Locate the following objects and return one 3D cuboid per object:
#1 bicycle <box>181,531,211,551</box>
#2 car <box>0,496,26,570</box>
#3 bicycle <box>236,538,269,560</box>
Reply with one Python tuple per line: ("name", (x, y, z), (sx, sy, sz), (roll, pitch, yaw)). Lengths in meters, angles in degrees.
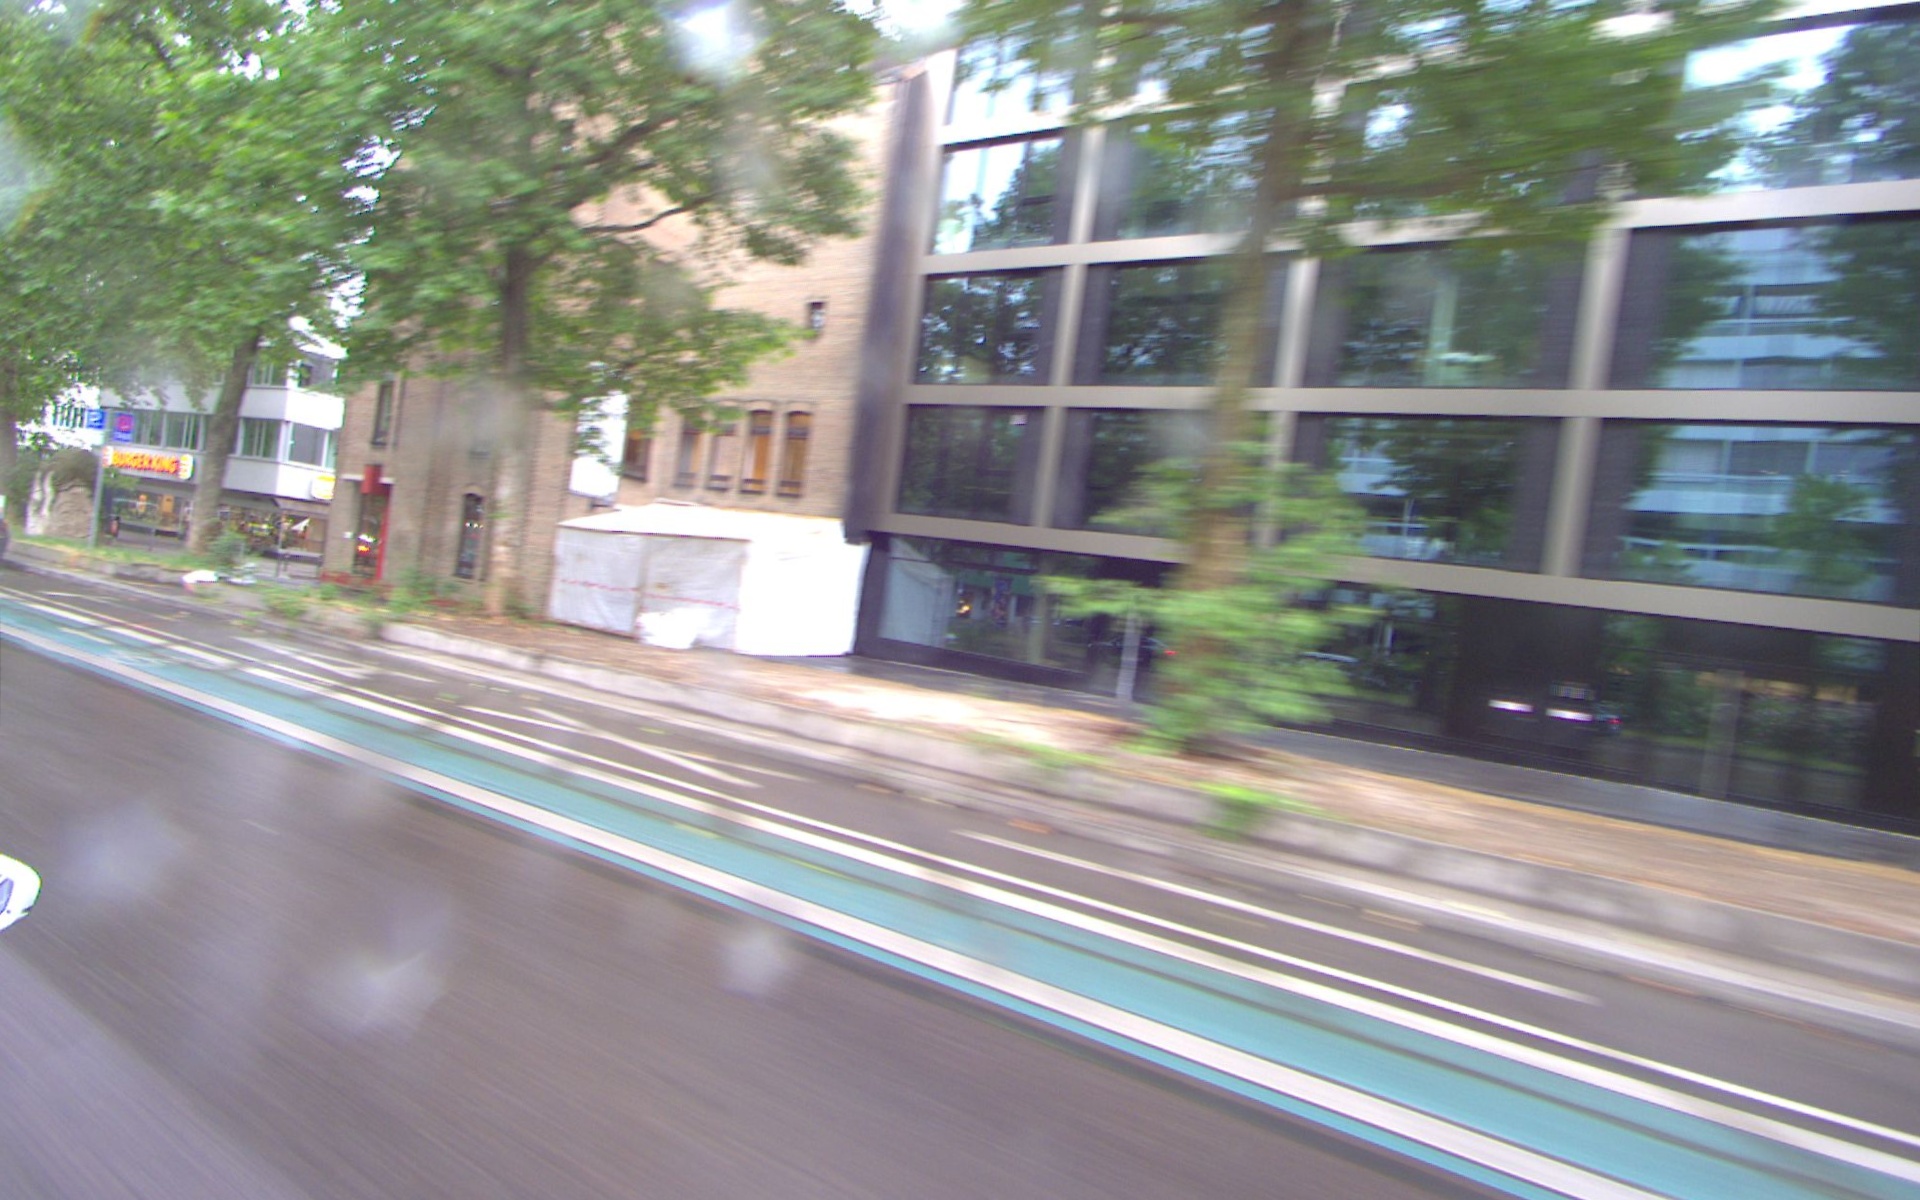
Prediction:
("bicycle", (-38.668, -2.992, 50.910), (1.993, 0.846, 0.449), (6, -2, 32))
("car", (-21.535, -1.653, 20.869), (4.534, 1.436, 1.878), (7, -3, 31))
("bicycle", (-33.872, -2.436, 48.168), (1.993, 0.846, 0.449), (6, -2, 32))
